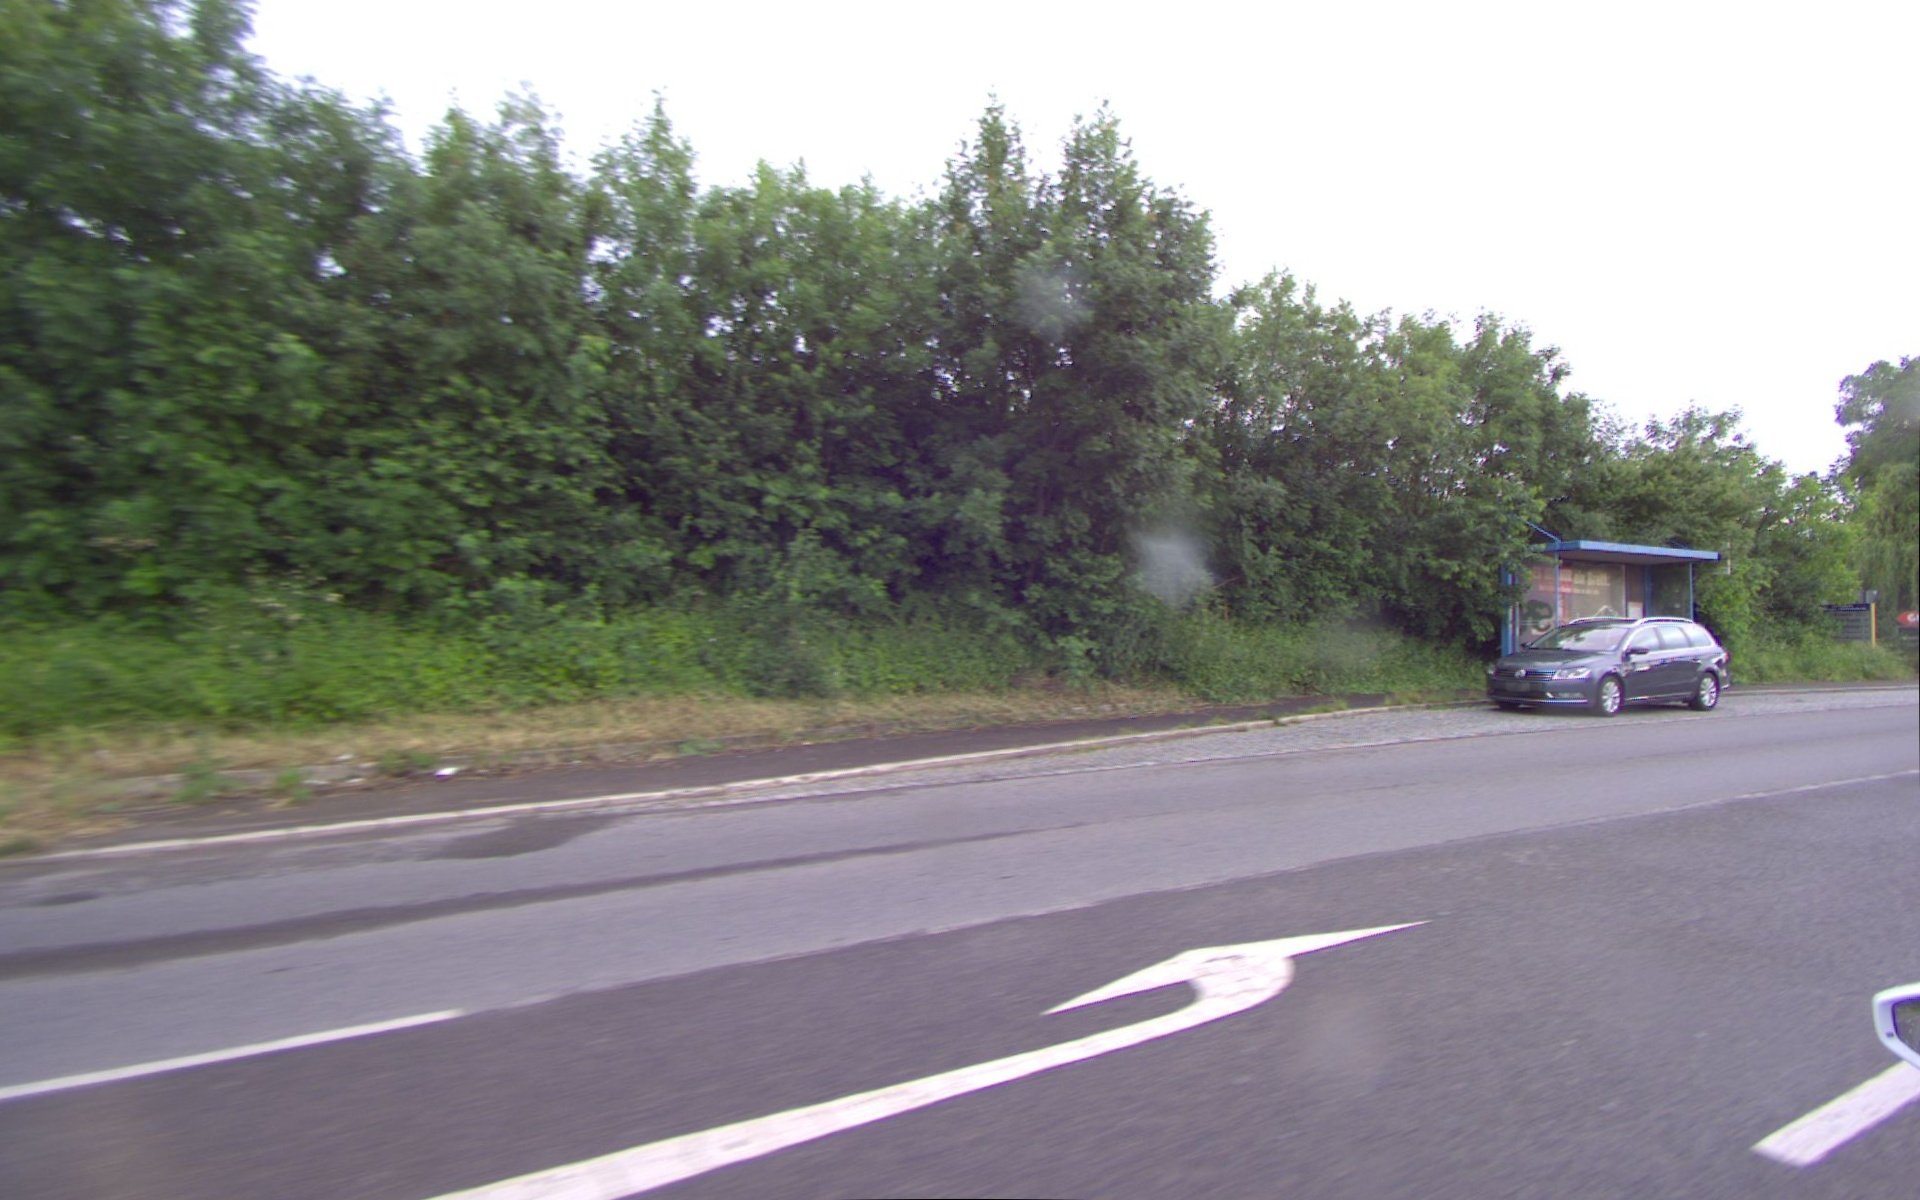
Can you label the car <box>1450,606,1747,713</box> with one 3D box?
[{"bbox_3d":[10.466,0.956,16.427,4.640,1.493,1.986,3,0,-27],"label":"car"}]
